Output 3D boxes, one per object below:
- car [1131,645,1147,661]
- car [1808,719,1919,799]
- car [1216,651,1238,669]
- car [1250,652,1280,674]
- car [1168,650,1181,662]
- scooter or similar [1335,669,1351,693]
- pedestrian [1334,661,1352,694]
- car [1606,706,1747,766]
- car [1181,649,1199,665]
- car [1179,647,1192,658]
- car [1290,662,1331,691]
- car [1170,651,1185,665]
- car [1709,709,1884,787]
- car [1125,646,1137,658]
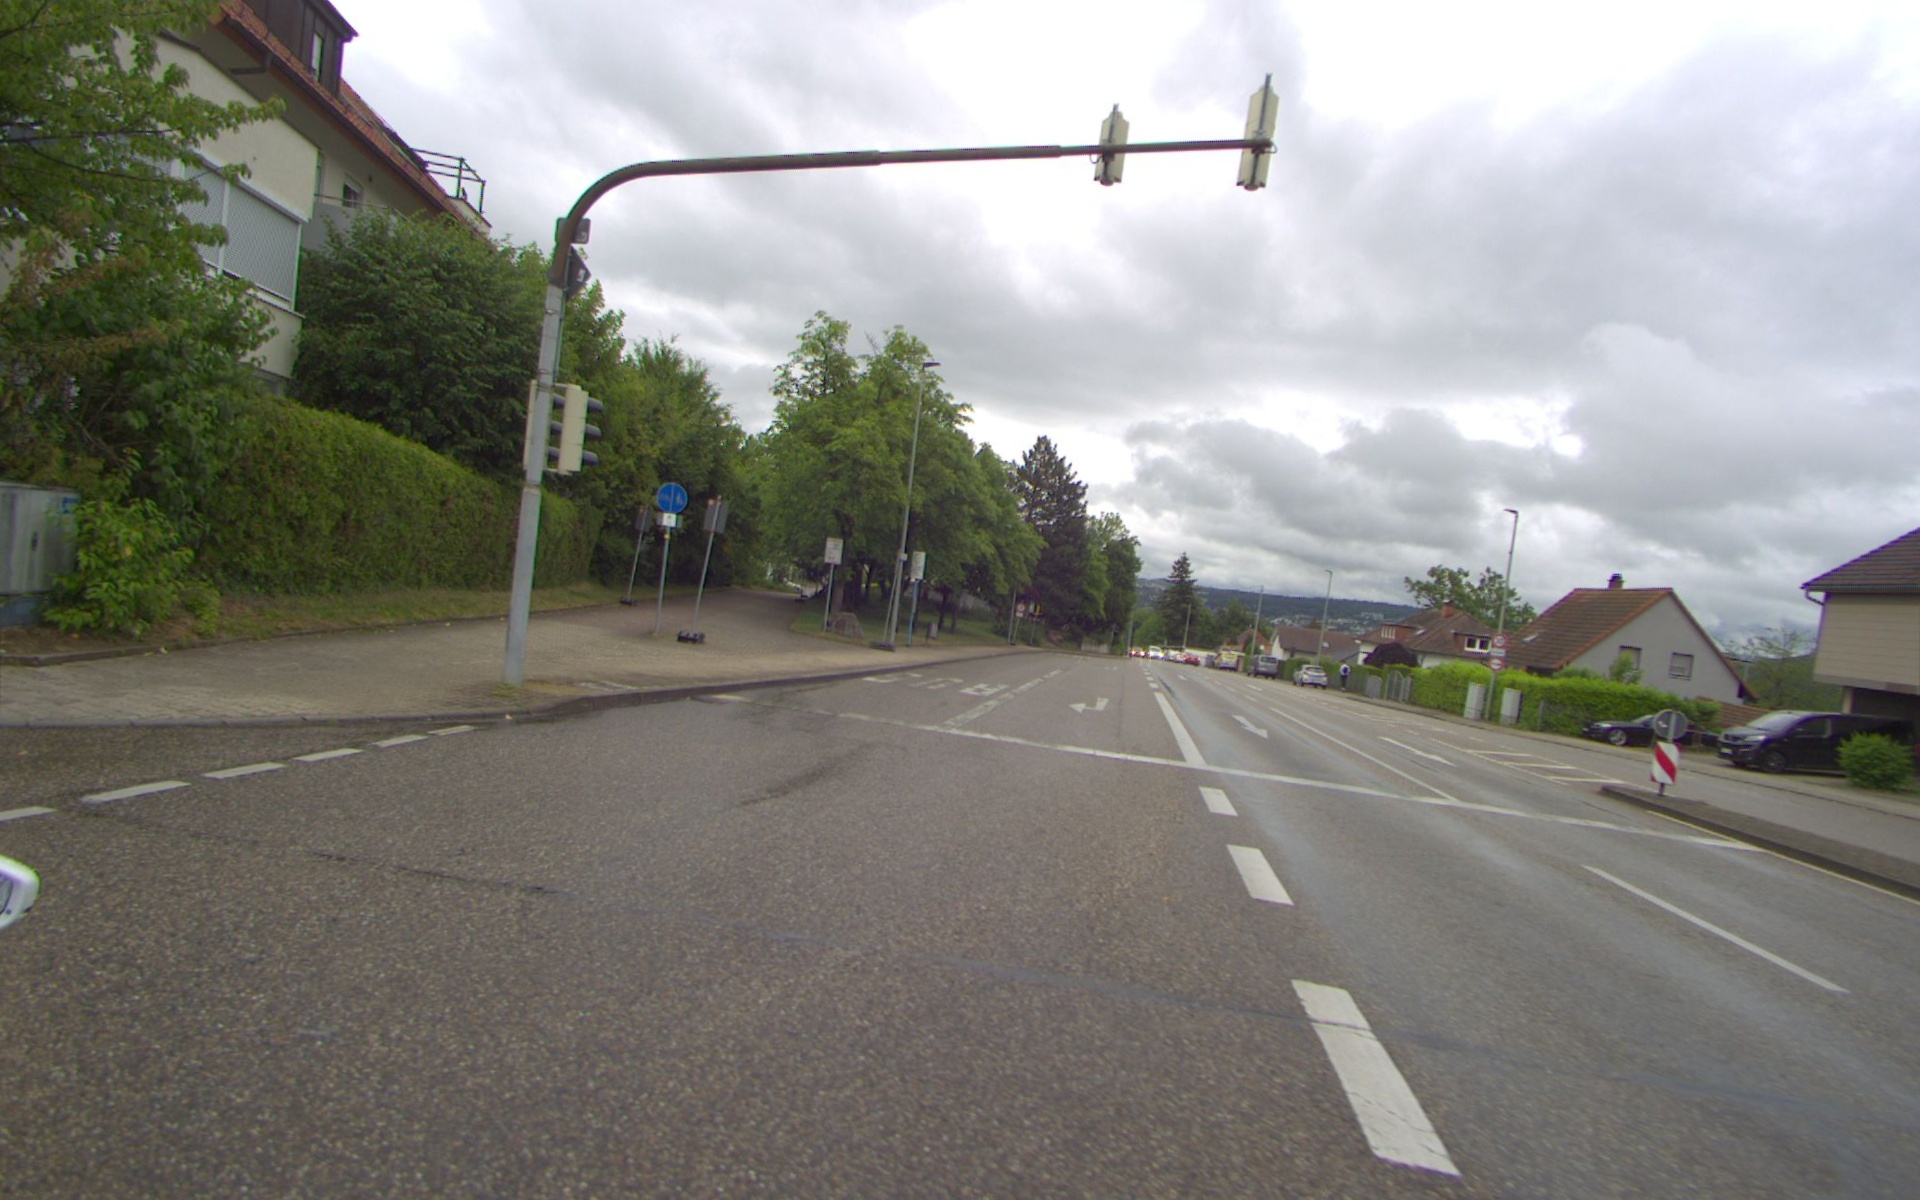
[{"bbox_3d":[23.614,6.953,132.618,1.815,1.737,4.003,8,-1,11],"label":"car"},{"bbox_3d":[26.339,4.545,28.086,3.570,1.768,1.708,8,1,6],"label":"car"},{"bbox_3d":[29.778,6.658,112.131,1.821,1.593,4.003,8,0,10],"label":"car"},{"bbox_3d":[26.472,5.443,87.334,1.821,1.593,4.003,8,0,10],"label":"car"},{"bbox_3d":[34.734,9.081,163.145,1.711,1.593,4.003,8,0,10],"label":"car"},{"bbox_3d":[24.644,5.195,64.755,0.454,1.378,1.385,8,0,7],"label":"scooter or similar"},{"bbox_3d":[24.675,4.976,64.858,0.645,2.026,0.718,8,1,7],"label":"pedestrian"},{"bbox_3d":[25.374,4.789,35.724,3.630,1.385,1.521,9,-2,9],"label":"car"},{"bbox_3d":[27.741,6.883,121.263,1.727,1.593,4.003,8,0,10],"label":"car"},{"bbox_3d":[37.742,8.744,168.557,1.821,1.593,4.003,8,0,10],"label":"car"},{"bbox_3d":[24.060,5.225,69.096,1.821,1.593,4.003,9,0,10],"label":"car"},{"bbox_3d":[29.602,7.851,136.886,1.711,1.593,4.003,8,0,10],"label":"car"},{"bbox_3d":[25.490,4.476,30.763,3.570,1.646,1.792,8,0,6],"label":"car"},{"bbox_3d":[31.570,9.591,185.438,1.857,1.815,4.003,8,0,10],"label":"car"}]
